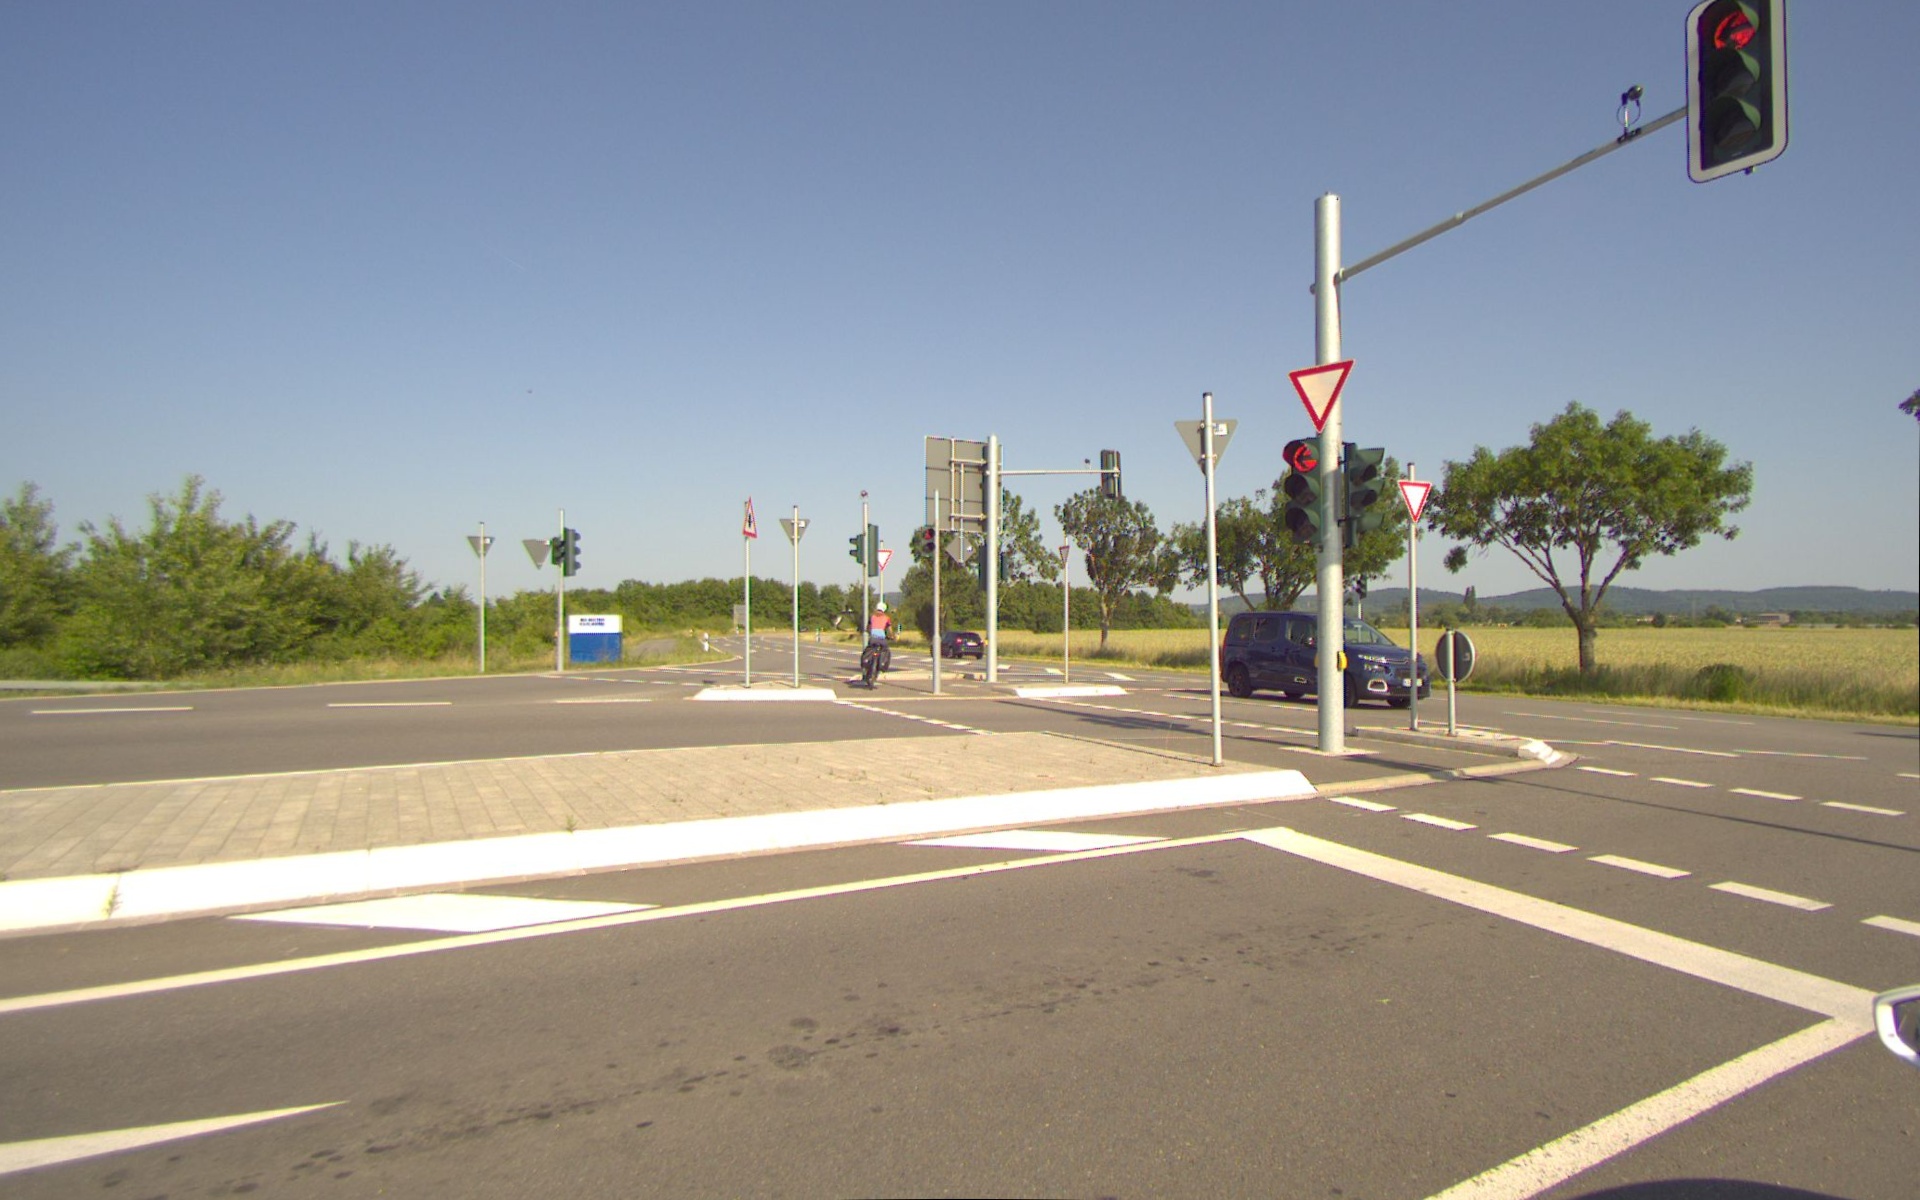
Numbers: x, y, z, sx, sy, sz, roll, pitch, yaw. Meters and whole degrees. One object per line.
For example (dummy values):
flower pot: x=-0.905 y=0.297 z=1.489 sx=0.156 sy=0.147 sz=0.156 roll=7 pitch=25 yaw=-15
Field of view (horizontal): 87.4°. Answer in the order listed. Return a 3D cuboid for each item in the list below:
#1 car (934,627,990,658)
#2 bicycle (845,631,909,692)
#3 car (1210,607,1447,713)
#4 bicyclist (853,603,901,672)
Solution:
car: x=0.055 y=2.232 z=53.204 sx=1.705 sy=1.544 sz=3.449 roll=2 pitch=-1 yaw=-24
bicycle: x=-1.694 y=1.250 z=20.918 sx=1.052 sy=1.164 sz=2.151 roll=2 pitch=-1 yaw=2
car: x=7.207 y=1.114 z=20.154 sx=1.821 sy=1.858 sz=4.438 roll=2 pitch=-1 yaw=-26
bicyclist: x=-1.720 y=0.774 z=21.023 sx=0.841 sy=1.369 sz=1.074 roll=2 pitch=-1 yaw=2
